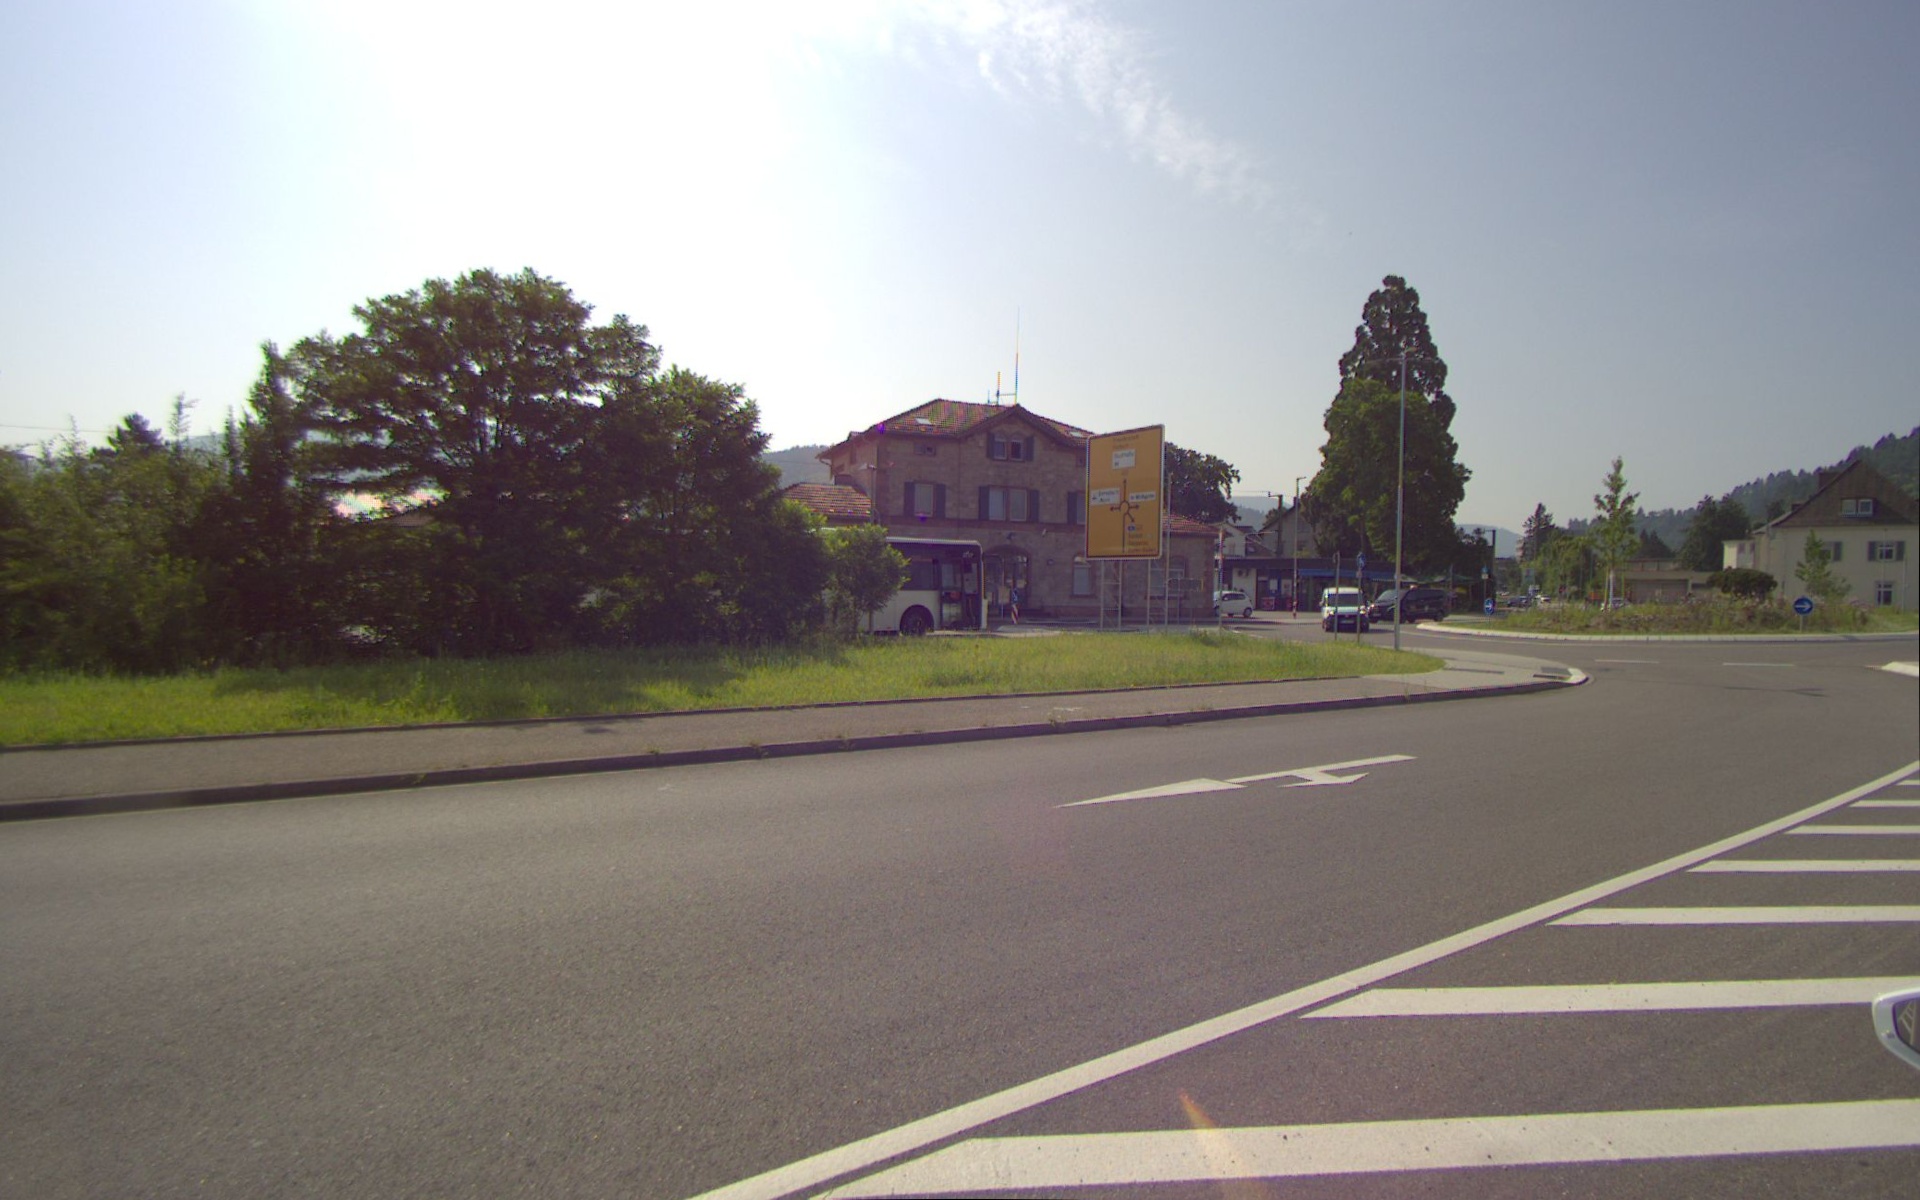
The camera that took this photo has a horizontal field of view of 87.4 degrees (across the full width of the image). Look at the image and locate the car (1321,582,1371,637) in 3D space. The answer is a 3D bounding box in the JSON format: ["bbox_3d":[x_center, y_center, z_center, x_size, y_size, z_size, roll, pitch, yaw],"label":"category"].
[{"bbox_3d":[16.859,0.332,43.740,1.777,2.106,4.600,1,3,24],"label":"car"}]

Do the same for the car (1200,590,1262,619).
[{"bbox_3d":[15.966,0.263,59.194,3.492,1.469,1.383,3,0,-27],"label":"car"}]

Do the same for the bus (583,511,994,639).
[{"bbox_3d":[-4.606,-0.620,29.255,11.594,3.165,3.046,0,1,-33],"label":"bus"}]

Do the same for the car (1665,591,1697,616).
[{"bbox_3d":[59.078,0.265,82.252,1.788,2.041,3.980,1,1,41],"label":"car"}]

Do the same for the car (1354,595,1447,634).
[{"bbox_3d":[23.677,0.797,53.950,4.814,1.971,1.835,1,0,-24],"label":"car"}]
